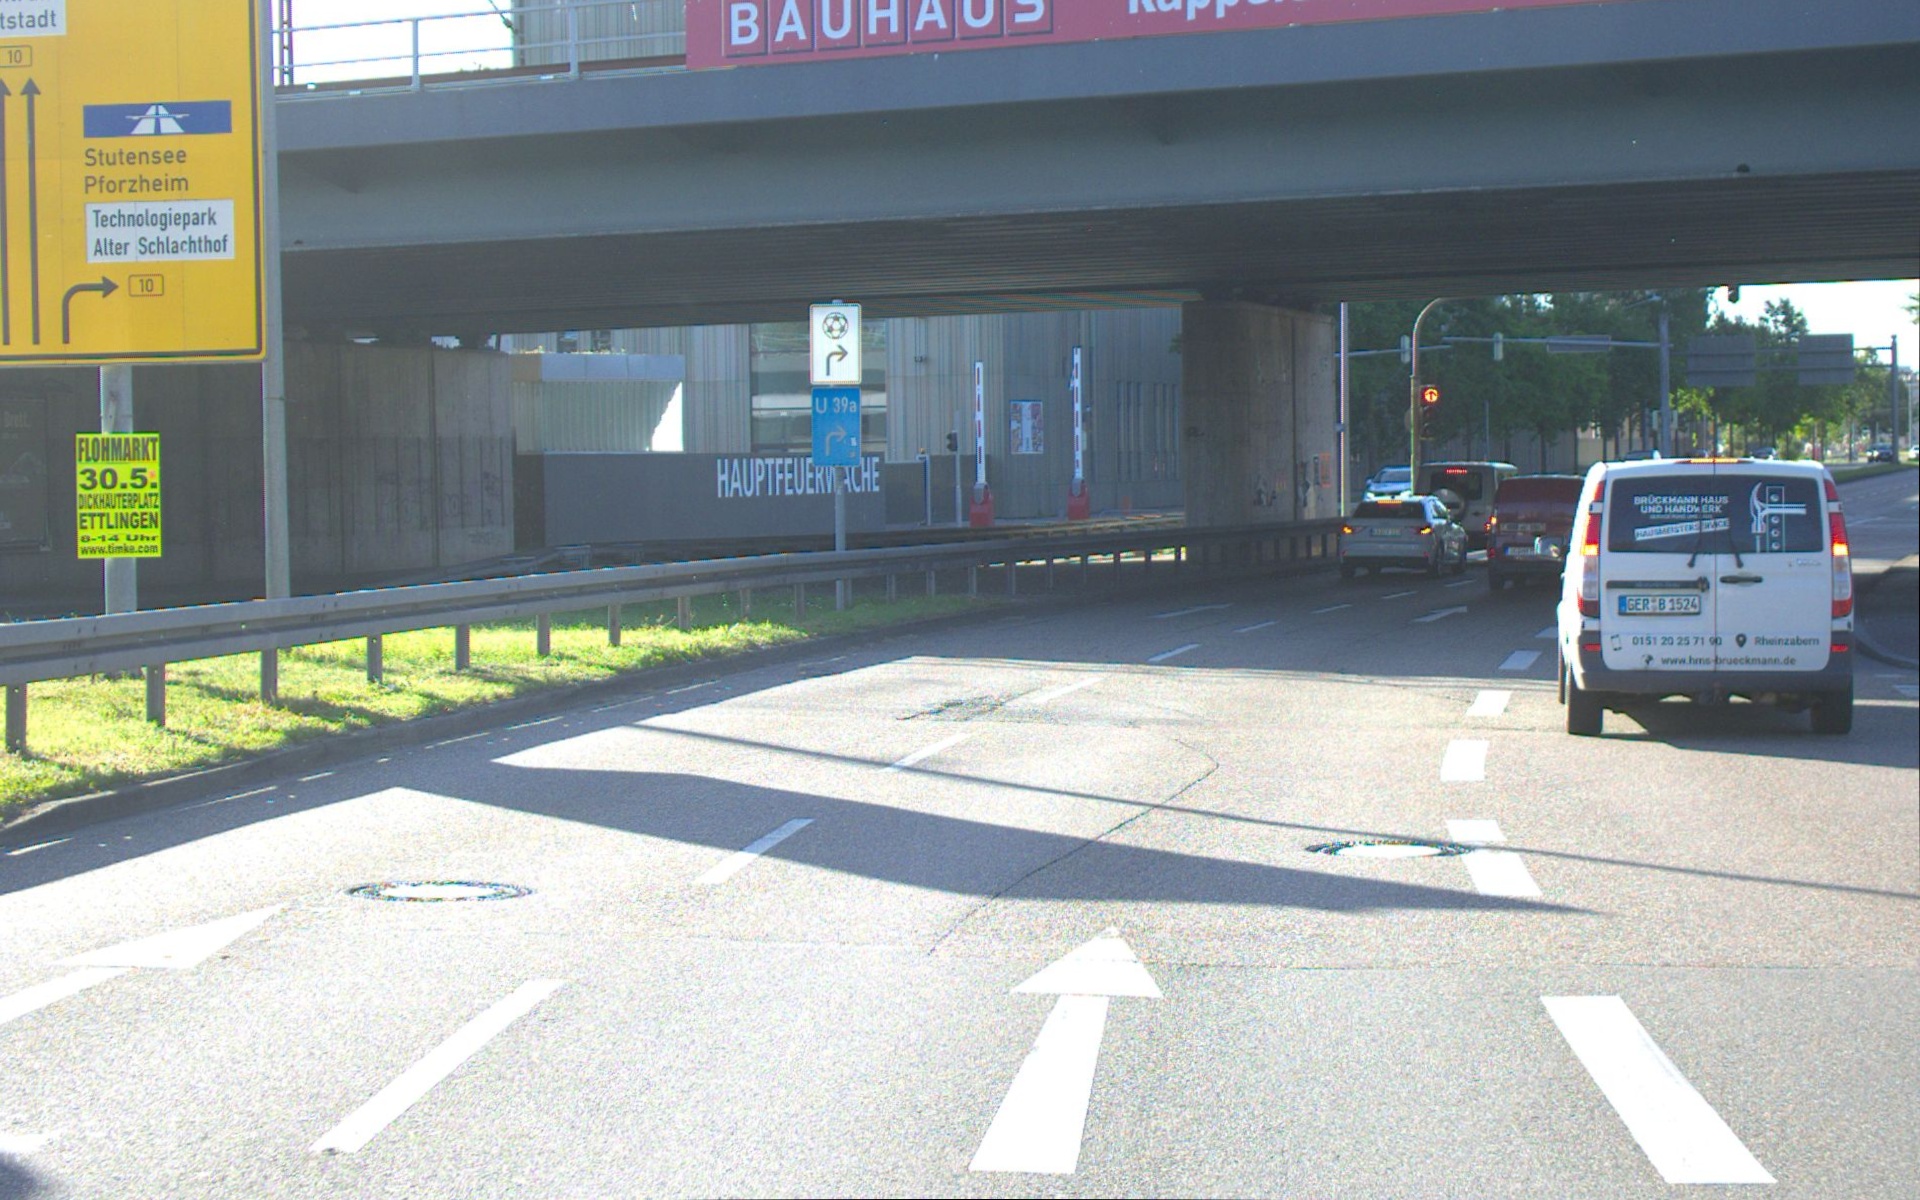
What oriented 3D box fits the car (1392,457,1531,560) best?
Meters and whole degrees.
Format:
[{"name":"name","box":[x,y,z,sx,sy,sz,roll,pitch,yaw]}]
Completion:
[{"name":"car","box":[9.824,-1.804,67.104,1.868,1.940,4.592,1,2,19]}]

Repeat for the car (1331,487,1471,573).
[{"name":"car","box":[7.726,-1.252,60.012,1.709,1.447,3.739,1,2,19]}]

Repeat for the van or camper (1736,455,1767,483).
[{"name":"van or camper","box":[54.648,-9.040,237.247,1.787,1.857,3.905,-2,1,16]}]

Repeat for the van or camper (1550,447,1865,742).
[{"name":"van or camper","box":[5.276,-0.107,24.727,1.959,1.877,4.878,-1,2,10]}]

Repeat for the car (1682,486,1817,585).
[{"name":"car","box":[12.532,-1.048,54.432,1.709,1.517,3.739,1,2,19]}]

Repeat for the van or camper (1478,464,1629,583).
[{"name":"van or camper","box":[9.463,-1.236,54.608,1.755,1.807,3.955,1,2,19]}]

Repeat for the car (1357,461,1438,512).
[{"name":"car","box":[14.486,-3.746,113.748,1.784,1.639,4.197,1,2,20]}]
